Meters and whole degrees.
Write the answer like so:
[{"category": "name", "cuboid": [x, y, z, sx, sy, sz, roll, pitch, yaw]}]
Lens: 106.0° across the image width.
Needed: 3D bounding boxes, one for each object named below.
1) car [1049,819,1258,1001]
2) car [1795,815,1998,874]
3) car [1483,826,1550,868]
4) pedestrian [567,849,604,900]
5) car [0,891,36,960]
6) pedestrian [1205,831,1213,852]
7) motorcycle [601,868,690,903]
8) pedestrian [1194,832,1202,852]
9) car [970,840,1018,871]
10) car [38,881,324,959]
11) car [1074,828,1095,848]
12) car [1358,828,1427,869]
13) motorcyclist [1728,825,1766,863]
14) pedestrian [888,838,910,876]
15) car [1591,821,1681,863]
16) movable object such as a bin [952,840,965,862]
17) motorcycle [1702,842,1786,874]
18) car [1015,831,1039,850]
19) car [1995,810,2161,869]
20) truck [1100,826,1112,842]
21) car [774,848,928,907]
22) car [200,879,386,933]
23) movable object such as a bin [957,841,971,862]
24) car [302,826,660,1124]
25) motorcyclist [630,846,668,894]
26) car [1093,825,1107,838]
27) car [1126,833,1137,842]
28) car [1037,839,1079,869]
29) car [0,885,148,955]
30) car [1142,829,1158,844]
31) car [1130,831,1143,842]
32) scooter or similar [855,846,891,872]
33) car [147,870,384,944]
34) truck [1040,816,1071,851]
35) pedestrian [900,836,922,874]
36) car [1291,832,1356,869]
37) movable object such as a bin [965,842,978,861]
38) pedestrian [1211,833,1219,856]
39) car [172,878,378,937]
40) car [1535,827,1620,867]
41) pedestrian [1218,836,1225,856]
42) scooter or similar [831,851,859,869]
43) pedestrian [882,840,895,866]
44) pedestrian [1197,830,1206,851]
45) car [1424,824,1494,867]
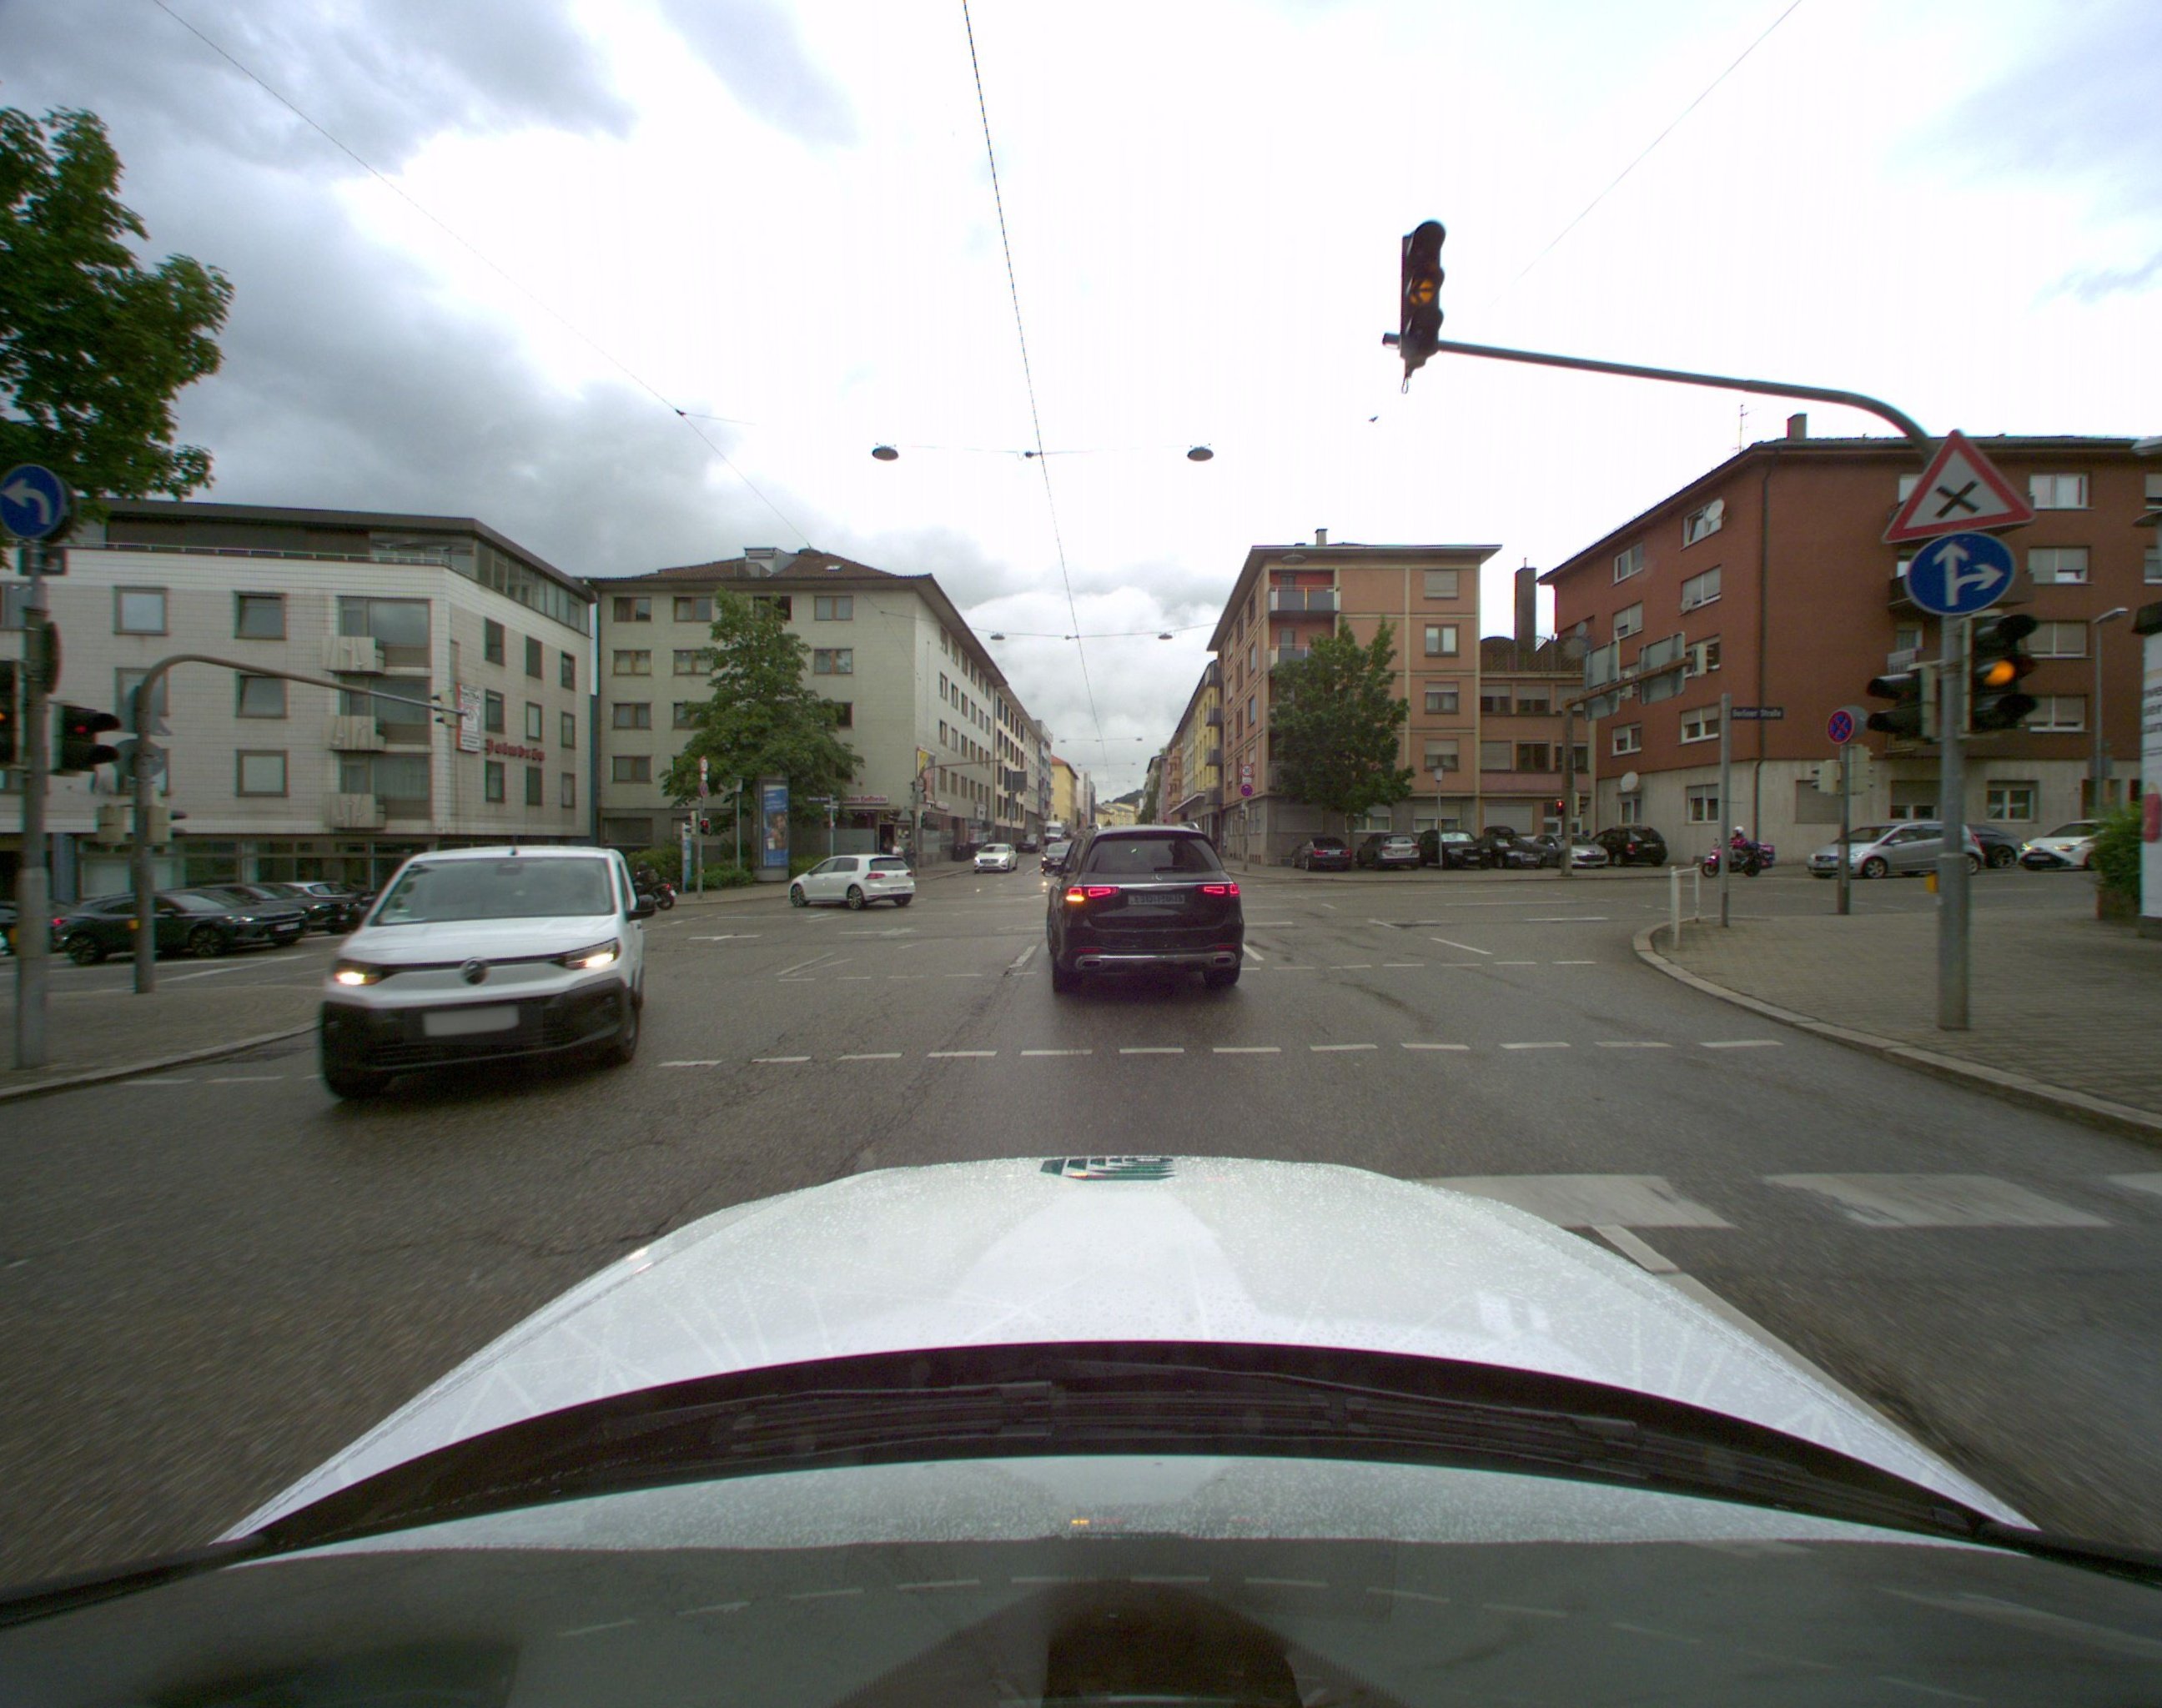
[{"category": "car", "cuboid": [0.612, 0.541, 10.263, 2.016, 1.739, 4.743, 0, 0, -3]}, {"category": "car", "cuboid": [23.411, -0.269, 23.501, 3.971, 1.554, 1.842, -1, 0, 2]}, {"category": "car", "cuboid": [19.105, -0.318, 35.889, 1.781, 1.698, 4.017, 1, 1, 16]}, {"category": "pedestrian", "cuboid": [-18.476, 0.755, 30.348, 0.906, 1.817, 0.760, 1, 3, 30]}, {"category": "car", "cuboid": [-27.104, 1.725, 18.440, 4.352, 1.542, 1.812, -2, 1, -2]}, {"category": "pedestrian", "cuboid": [9.414, -0.927, 59.908, 0.518, 1.518, 0.570, 1, 4, 2]}, {"category": "motorcycle", "cuboid": [-13.498, 0.962, 25.293, 2.243, 1.006, 0.863, -1, 0, -8]}, {"category": "pedestrian", "cuboid": [9.500, -0.976, 66.115, 0.518, 1.555, 0.570, 1, 4, 2]}, {"category": "car", "cuboid": [-4.455, 0.040, 42.361, 1.836, 1.512, 4.003, -1, 1, 3]}, {"category": "car", "cuboid": [-20.385, 1.455, 18.603, 4.352, 1.477, 1.824, -2, 1, -2]}, {"category": "car", "cuboid": [0.444, -1.815, 92.620, 2.056, 2.241, 4.625, -1, 0, 4]}, {"category": "car", "cuboid": [13.708, -0.257, 36.051, 1.975, 1.660, 4.009, -1, 1, 8]}, {"category": "motorcyclist", "cuboid": [21.813, -0.327, 26.682, 0.655, 1.224, 0.653, -2, 0, -5]}, {"category": "pedestrian", "cuboid": [-8.091, 0.138, 36.258, 0.713, 1.646, 0.751, 0, 4, -34]}, {"category": "car", "cuboid": [24.310, -0.485, 35.835, 1.979, 1.706, 4.015, 1, -1, 14]}, {"category": "movable object such as a bin", "cuboid": [-7.675, -0.192, 51.035, 0.695, 1.315, 0.783, 1, -1, 1]}, {"category": "motorcycle", "cuboid": [21.698, 0.133, 26.657, 2.353, 0.927, 0.636, -2, -1, -6]}, {"category": "car", "cuboid": [-4.845, -1.213, 73.384, 1.717, 1.603, 4.002, -1, 0, 2]}, {"category": "car", "cuboid": [29.274, -0.425, 23.378, 3.972, 1.554, 1.851, -1, 0, 1]}, {"category": "truck", "cuboid": [6.510, -5.067, 212.032, 2.795, 3.832, 8.154, 1, -1, 4]}, {"category": "car", "cuboid": [-6.574, 0.655, 23.076, 4.322, 1.461, 1.848, -1, 1, 36]}, {"category": "car", "cuboid": [-27.253, 1.773, 28.298, 4.358, 1.391, 1.767, -3, 3, -6]}, {"category": "movable object such as a bin", "cuboid": [-7.593, -0.147, 52.895, 0.695, 1.315, 0.783, 1, -1, 1]}, {"category": "car", "cuboid": [-4.875, 0.745, 7.261, 1.817, 1.715, 4.503, -3, 0, -29]}, {"category": "motorcyclist", "cuboid": [-13.414, 0.478, 25.297, 0.743, 1.453, 0.905, -1, 0, -7]}, {"category": "car", "cuboid": [2.639, -3.096, 113.638, 1.836, 1.674, 4.004, -1, 0, 3]}, {"category": "car", "cuboid": [10.423, -3.364, 167.990, 2.006, 1.562, 4.005, 1, 0, 5]}, {"category": "car", "cuboid": [-1.148, -0.015, 42.916, 1.836, 1.489, 4.003, -1, 1, 3]}, {"category": "car", "cuboid": [-26.902, 1.673, 20.580, 4.352, 1.542, 1.812, -2, 1, -2]}, {"category": "car", "cuboid": [8.664, -2.175, 102.148, 2.006, 1.562, 5.162, 1, 0, 5]}, {"category": "car", "cuboid": [9.168, -2.854, 134.117, 2.006, 1.562, 4.005, 1, 0, 5]}, {"category": "scooter or similar", "cuboid": [-9.637, 0.243, 37.750, 1.565, 1.190, 0.497, 2, -1, -27]}, {"category": "car", "cuboid": [-21.895, 1.379, 22.010, 4.352, 1.536, 1.824, -4, 1, -2]}, {"category": "truck", "cuboid": [-2.958, -2.416, 97.899, 2.795, 3.832, 8.154, 1, -1, 4]}, {"category": "pedestrian", "cuboid": [-7.738, 0.032, 37.036, 0.713, 1.646, 0.751, 0, 4, -34]}, {"category": "car", "cuboid": [10.839, -0.167, 36.749, 1.836, 1.554, 4.801, -1, 1, 4]}, {"category": "movable object such as a bin", "cuboid": [-7.463, -0.158, 55.630, 0.695, 1.315, 0.783, 1, -1, 1]}, {"category": "pedestrian", "cuboid": [9.316, -0.678, 56.722, 0.477, 1.565, 0.558, 1, 4, 3]}, {"category": "car", "cuboid": [-25.247, 1.630, 25.667, 4.243, 1.600, 2.023, -1, 0, -6]}, {"category": "car", "cuboid": [21.441, -0.265, 35.360, 1.660, 1.582, 4.008, 1, -1, 8]}, {"category": "pedestrian", "cuboid": [9.806, -0.549, 56.762, 0.362, 1.398, 0.370, 1, 4, 2]}, {"category": "scooter or similar", "cuboid": [-11.254, 0.299, 38.858, 1.447, 0.843, 0.553, 1, -1, 39]}, {"category": "pedestrian", "cuboid": [-10.417, -0.044, 44.083, 0.517, 1.400, 0.578, 1, -1, -1]}, {"category": "pedestrian", "cuboid": [8.859, -0.979, 59.935, 0.518, 1.538, 0.570, 1, 4, 2]}, {"category": "car", "cuboid": [16.366, -0.384, 35.443, 1.972, 1.719, 4.015, -1, 0, 14]}]
